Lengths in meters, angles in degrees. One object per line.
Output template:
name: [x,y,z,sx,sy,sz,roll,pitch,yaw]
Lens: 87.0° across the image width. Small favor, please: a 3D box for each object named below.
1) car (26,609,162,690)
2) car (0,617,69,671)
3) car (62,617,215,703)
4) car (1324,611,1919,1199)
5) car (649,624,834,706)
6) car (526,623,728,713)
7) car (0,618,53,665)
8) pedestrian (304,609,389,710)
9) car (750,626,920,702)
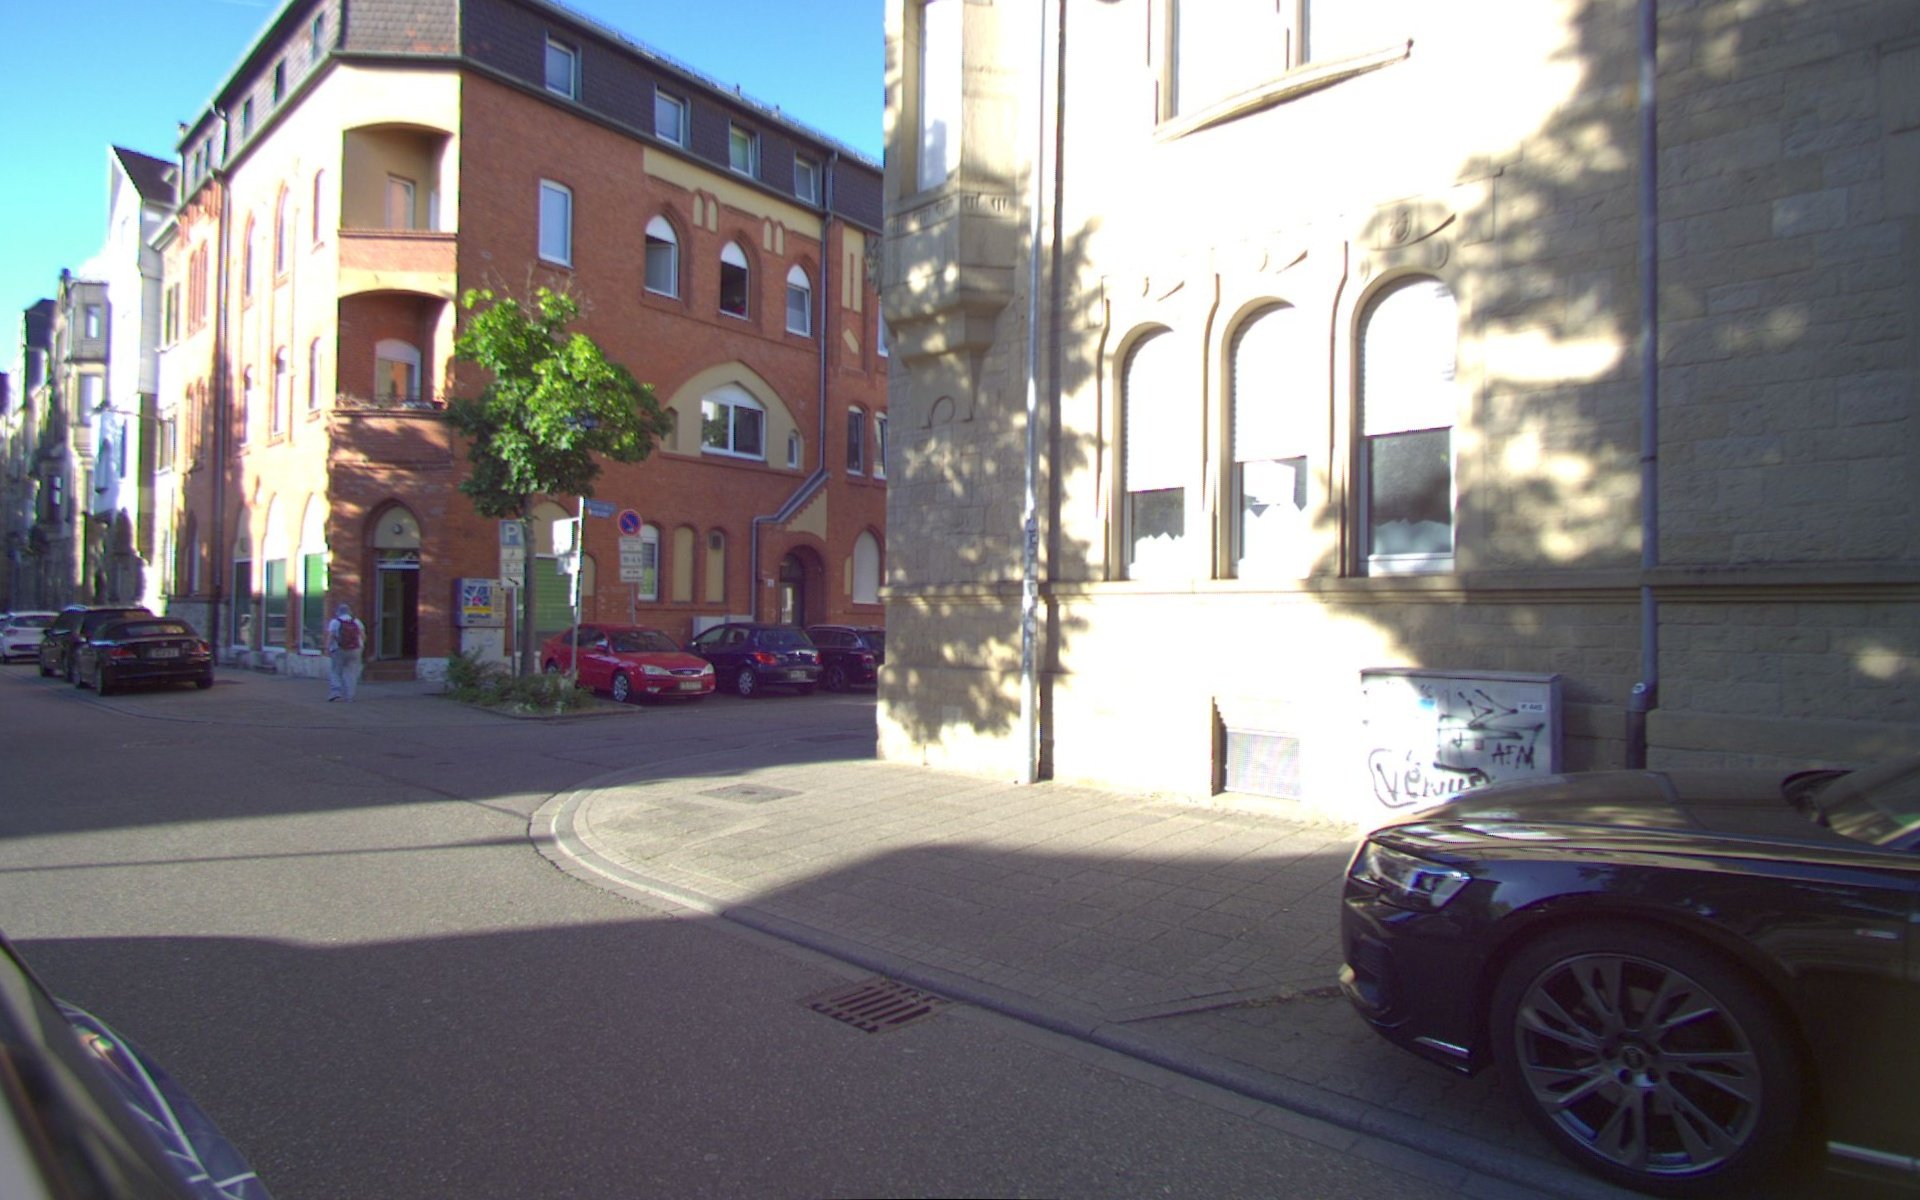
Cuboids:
car: [-19.954,1.051,23.272,4.346,1.693,1.652,0,-1,40]
car: [-27.490,1.259,29.805,3.591,1.481,1.549,-1,-1,43]
car: [-16.082,1.085,19.729,4.331,1.421,1.618,0,1,42]
car: [3.575,0.774,2.253,4.895,1.437,1.792,0,1,41]
car: [-4.752,1.328,21.709,4.211,1.562,1.695,-1,-3,41]
car: [-6.578,1.232,19.725,4.656,1.480,1.618,0,-1,42]
car: [-31.227,1.336,33.180,4.108,1.454,1.659,-1,-1,40]
pedestrian: [-10.395,0.990,17.141,1.053,1.589,0.878,3,-1,41]
car: [-2.910,1.392,23.170,3.914,1.523,1.695,0,-1,41]
